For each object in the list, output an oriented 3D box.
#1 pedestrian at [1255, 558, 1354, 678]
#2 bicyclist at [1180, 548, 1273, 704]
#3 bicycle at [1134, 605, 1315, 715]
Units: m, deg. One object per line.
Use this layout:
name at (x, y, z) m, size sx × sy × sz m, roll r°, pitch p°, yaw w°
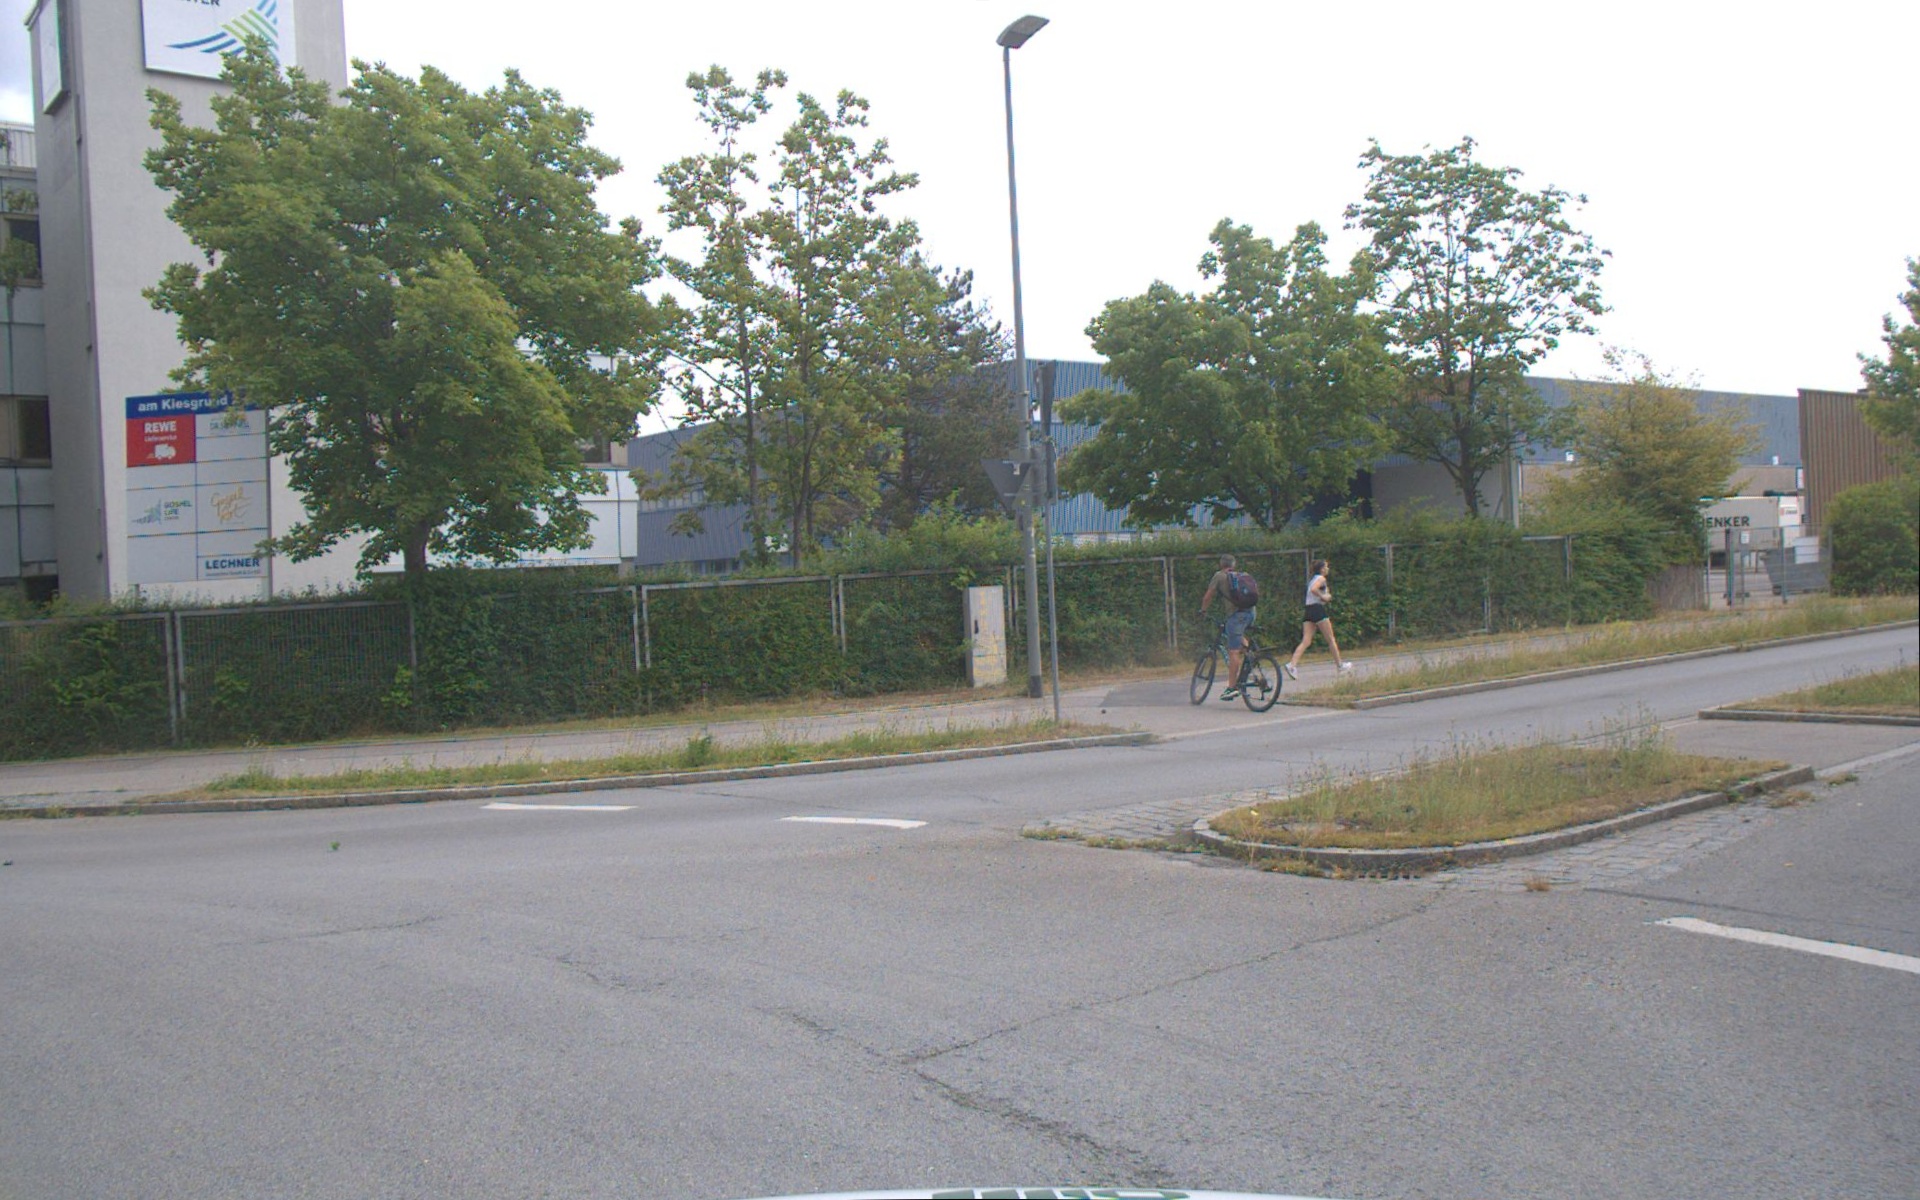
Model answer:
pedestrian at (4.733, 0.242, 22.751) m, size 1.032 × 1.571 × 0.779 m, roll -3°, pitch 1°, yaw -33°
bicyclist at (3.114, 0.278, 19.359) m, size 0.649 × 1.752 × 0.911 m, roll -2°, pitch 2°, yaw -28°
bicycle at (3.058, 0.662, 19.440) m, size 0.760 × 1.108 × 2.484 m, roll -2°, pitch 2°, yaw -27°
